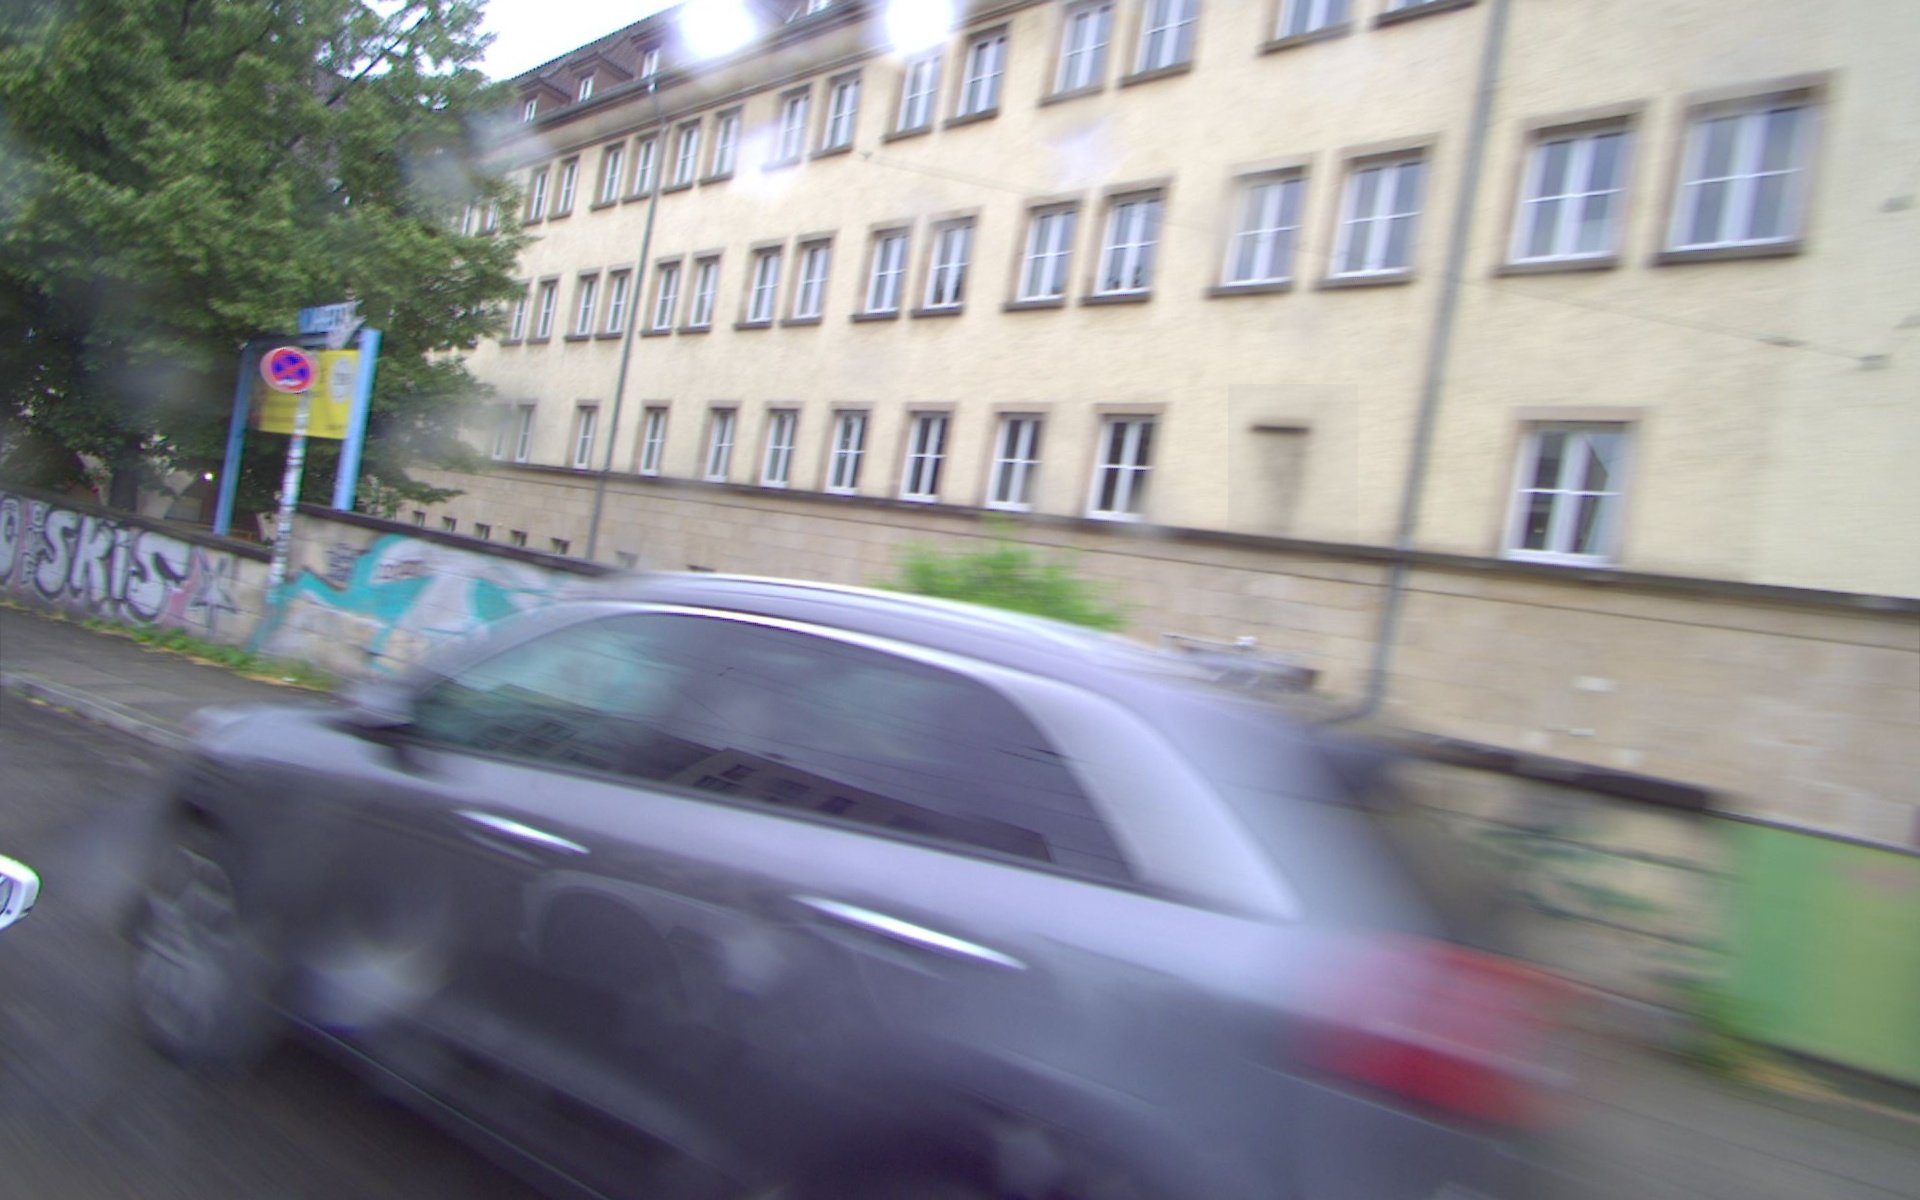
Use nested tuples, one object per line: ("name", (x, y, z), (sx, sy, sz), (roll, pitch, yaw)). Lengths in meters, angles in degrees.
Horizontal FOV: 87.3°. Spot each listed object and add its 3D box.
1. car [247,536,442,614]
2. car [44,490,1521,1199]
("car", (-18.032, -0.692, 29.636), (1.768, 1.607, 4.450), (9, 0, 38))
("car", (-0.765, 0.687, 2.954), (4.040, 1.543, 1.668), (7, 0, 31))
